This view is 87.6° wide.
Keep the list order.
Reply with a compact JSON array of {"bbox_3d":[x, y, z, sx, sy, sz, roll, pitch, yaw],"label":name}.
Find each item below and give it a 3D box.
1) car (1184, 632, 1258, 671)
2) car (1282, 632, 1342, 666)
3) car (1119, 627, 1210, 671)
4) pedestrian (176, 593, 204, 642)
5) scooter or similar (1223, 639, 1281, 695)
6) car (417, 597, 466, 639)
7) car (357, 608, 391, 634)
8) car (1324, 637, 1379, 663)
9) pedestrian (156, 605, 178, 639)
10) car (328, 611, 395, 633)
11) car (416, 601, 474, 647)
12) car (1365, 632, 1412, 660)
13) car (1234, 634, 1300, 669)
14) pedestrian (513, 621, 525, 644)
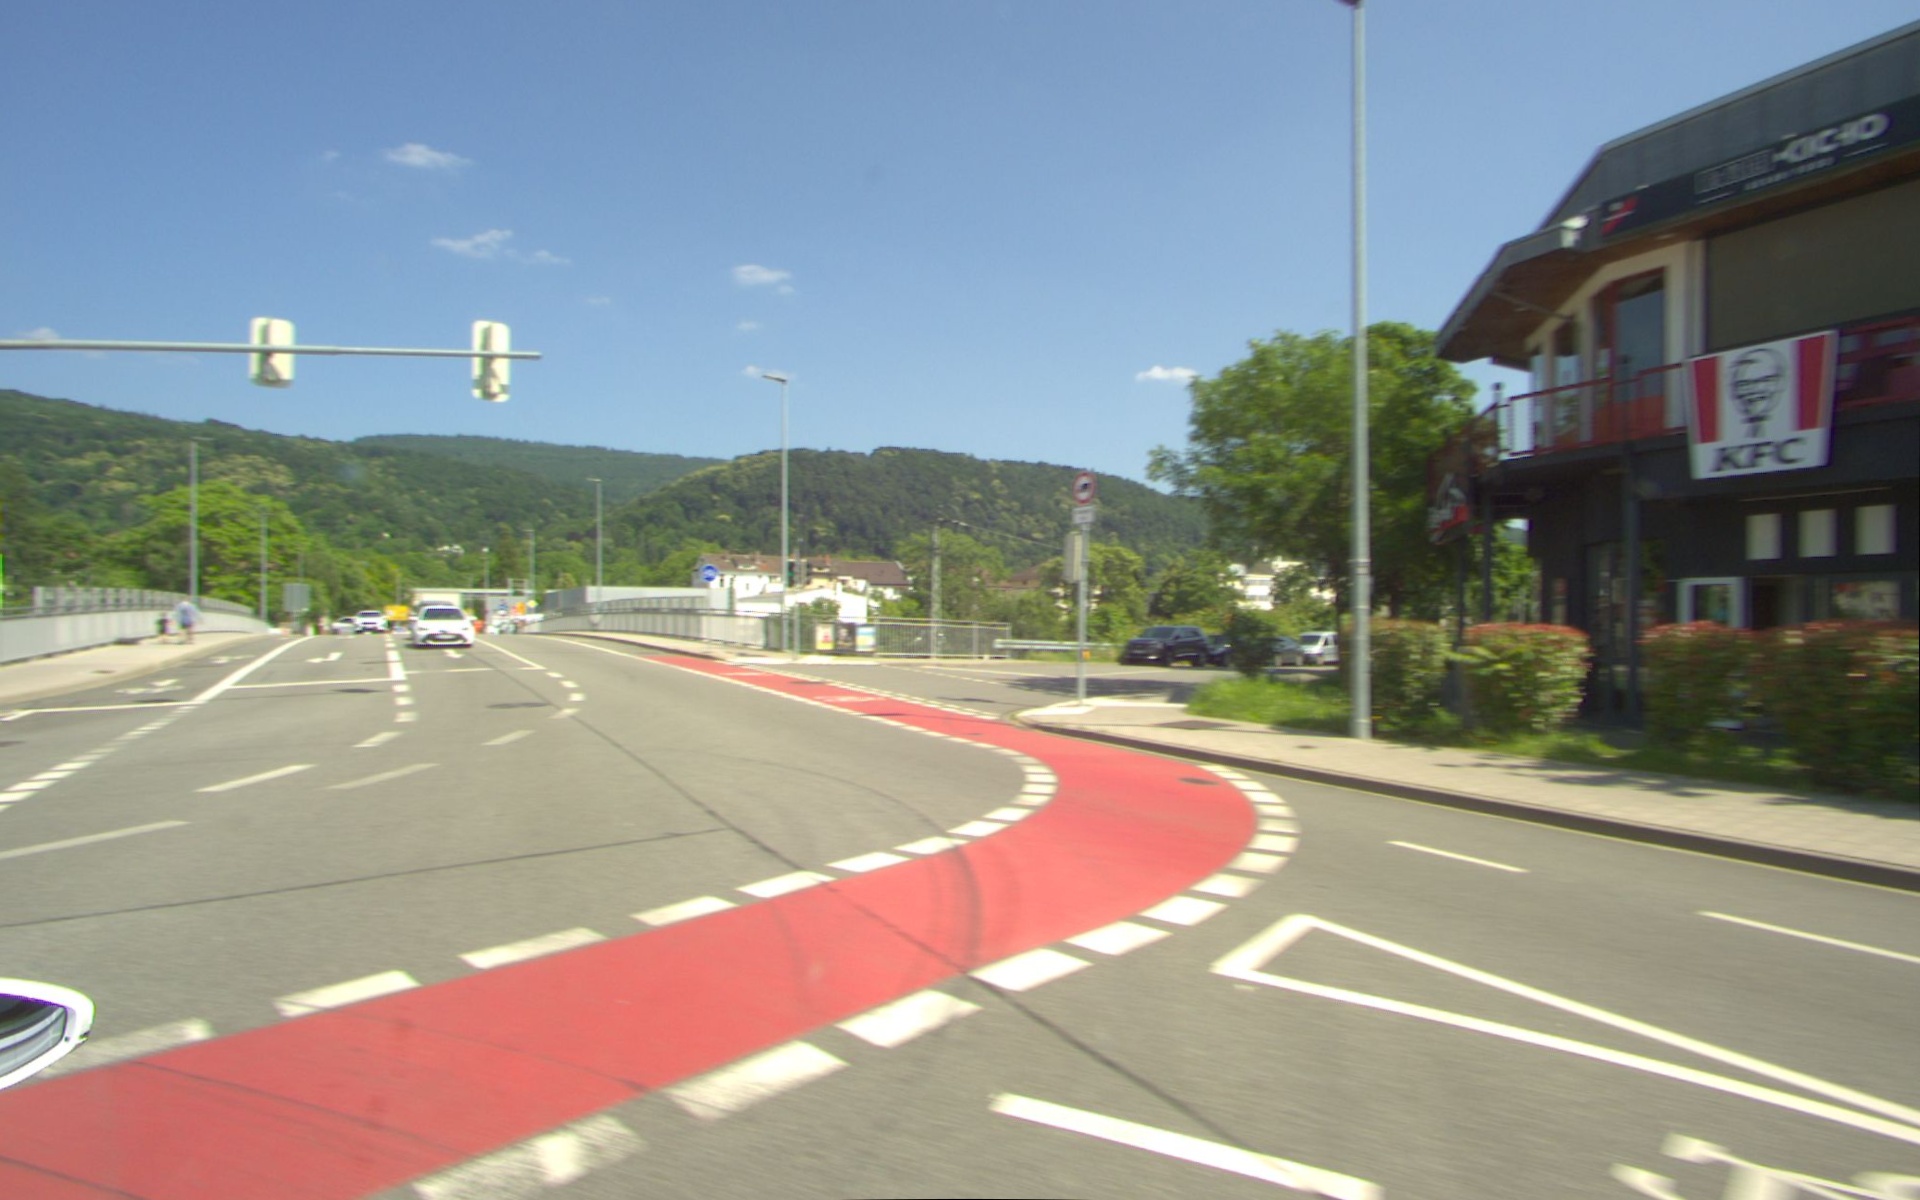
[{"bbox_3d":[11.488,2.233,43.976,1.653,1.553,3.971,0,-1,39],"label":"car"},{"bbox_3d":[18.236,2.502,51.745,1.653,1.656,3.970,0,-1,39],"label":"car"},{"bbox_3d":[8.283,1.913,40.299,1.809,1.648,4.205,0,-1,40],"label":"car"},{"bbox_3d":[-26.214,0.590,34.085,0.636,1.639,0.916,0,0,-31],"label":"pedestrian"},{"bbox_3d":[6.312,1.432,21.634,1.434,1.138,0.424,1,0,-37],"label":"scooter or similar"},{"bbox_3d":[-21.392,0.721,41.246,1.711,1.647,4.421,1,-1,-28],"label":"car"},{"bbox_3d":[-40.554,1.432,69.278,1.972,1.741,4.608,1,-1,-31],"label":"car"},{"bbox_3d":[22.007,2.798,56.257,1.654,1.334,3.969,0,-1,41],"label":"car"},{"bbox_3d":[-26.659,0.732,33.665,0.506,1.136,0.474,0,0,-31],"label":"pedestrian"},{"bbox_3d":[-48.596,1.751,81.302,4.974,1.741,1.996,0,0,21],"label":"car"},{"bbox_3d":[-18.073,0.824,35.101,1.711,1.488,4.389,1,-1,-28],"label":"car"},{"bbox_3d":[26.130,2.766,61.005,1.653,1.553,3.971,0,-1,39],"label":"car"},{"bbox_3d":[14.682,2.414,47.728,1.653,1.553,3.971,0,-1,39],"label":"car"},{"bbox_3d":[-39.161,2.901,88.914,0.846,2.040,1.149,0,0,-31],"label":"pedestrian"}]
